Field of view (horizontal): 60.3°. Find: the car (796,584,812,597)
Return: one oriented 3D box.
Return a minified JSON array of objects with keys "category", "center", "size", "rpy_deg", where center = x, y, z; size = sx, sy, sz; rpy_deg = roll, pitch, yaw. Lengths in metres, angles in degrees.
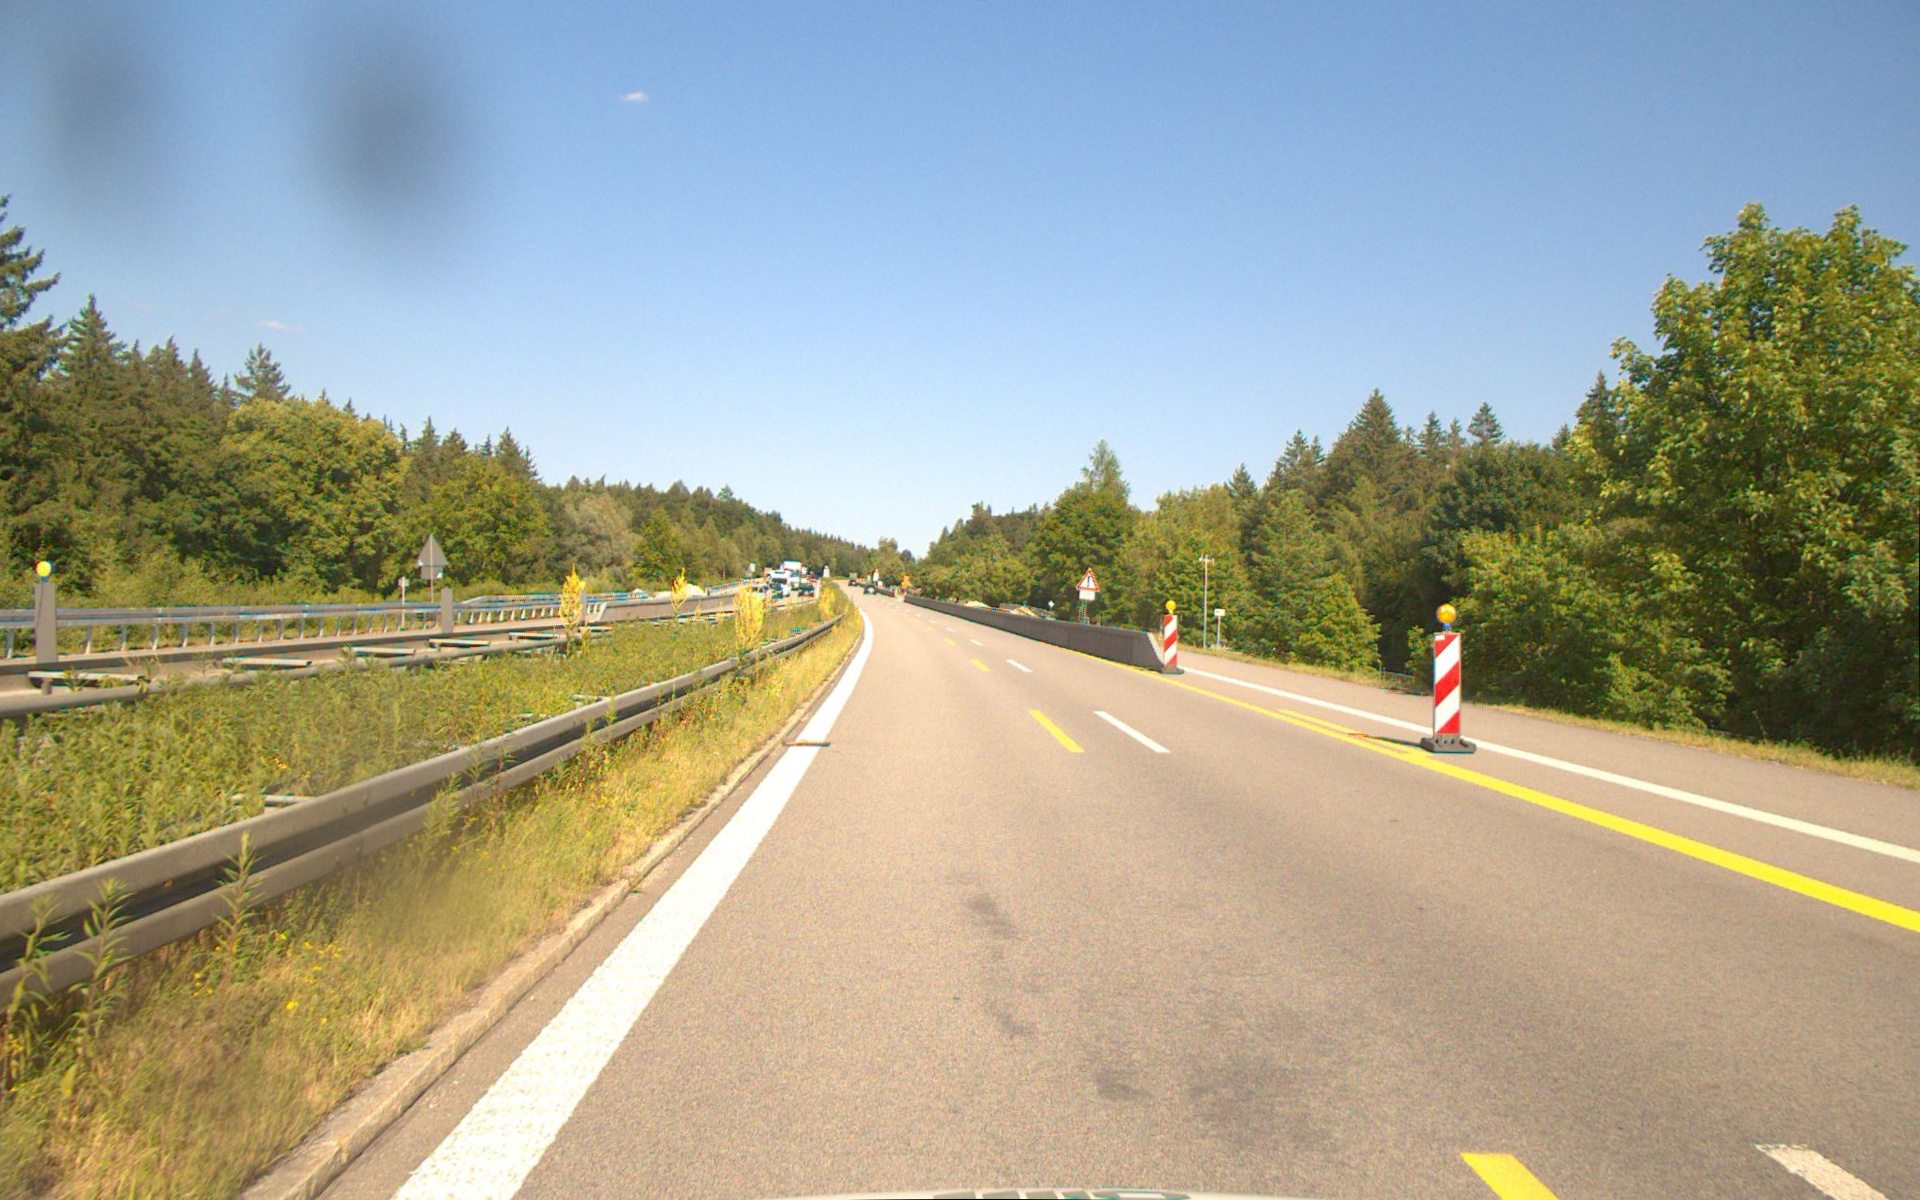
[{"category":"car","center":[-17.813,-1.093,189.266],"size":[1.707,1.556,3.997],"rpy_deg":[0,1,-4]}]

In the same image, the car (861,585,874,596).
[{"category":"car","center":[-13.374,-1.317,237.925],"size":[1.710,1.491,4.290],"rpy_deg":[3,0,-5]}]

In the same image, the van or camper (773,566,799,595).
[{"category":"van or camper","center":[-18.911,-2.114,180.306],"size":[2.358,3.002,7.517],"rpy_deg":[2,0,-4]}]

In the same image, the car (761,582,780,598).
[{"category":"car","center":[-19.083,-1.023,166.676],"size":[1.707,1.457,5.231],"rpy_deg":[-1,1,-4]}]

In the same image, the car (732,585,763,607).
[{"category":"car","center":[-14.973,-0.264,116.778],"size":[1.846,1.457,4.980],"rpy_deg":[2,0,-4]}]

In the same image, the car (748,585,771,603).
[{"category":"car","center":[-16.507,-0.483,136.216],"size":[1.667,1.457,4.952],"rpy_deg":[0,1,-4]}]
